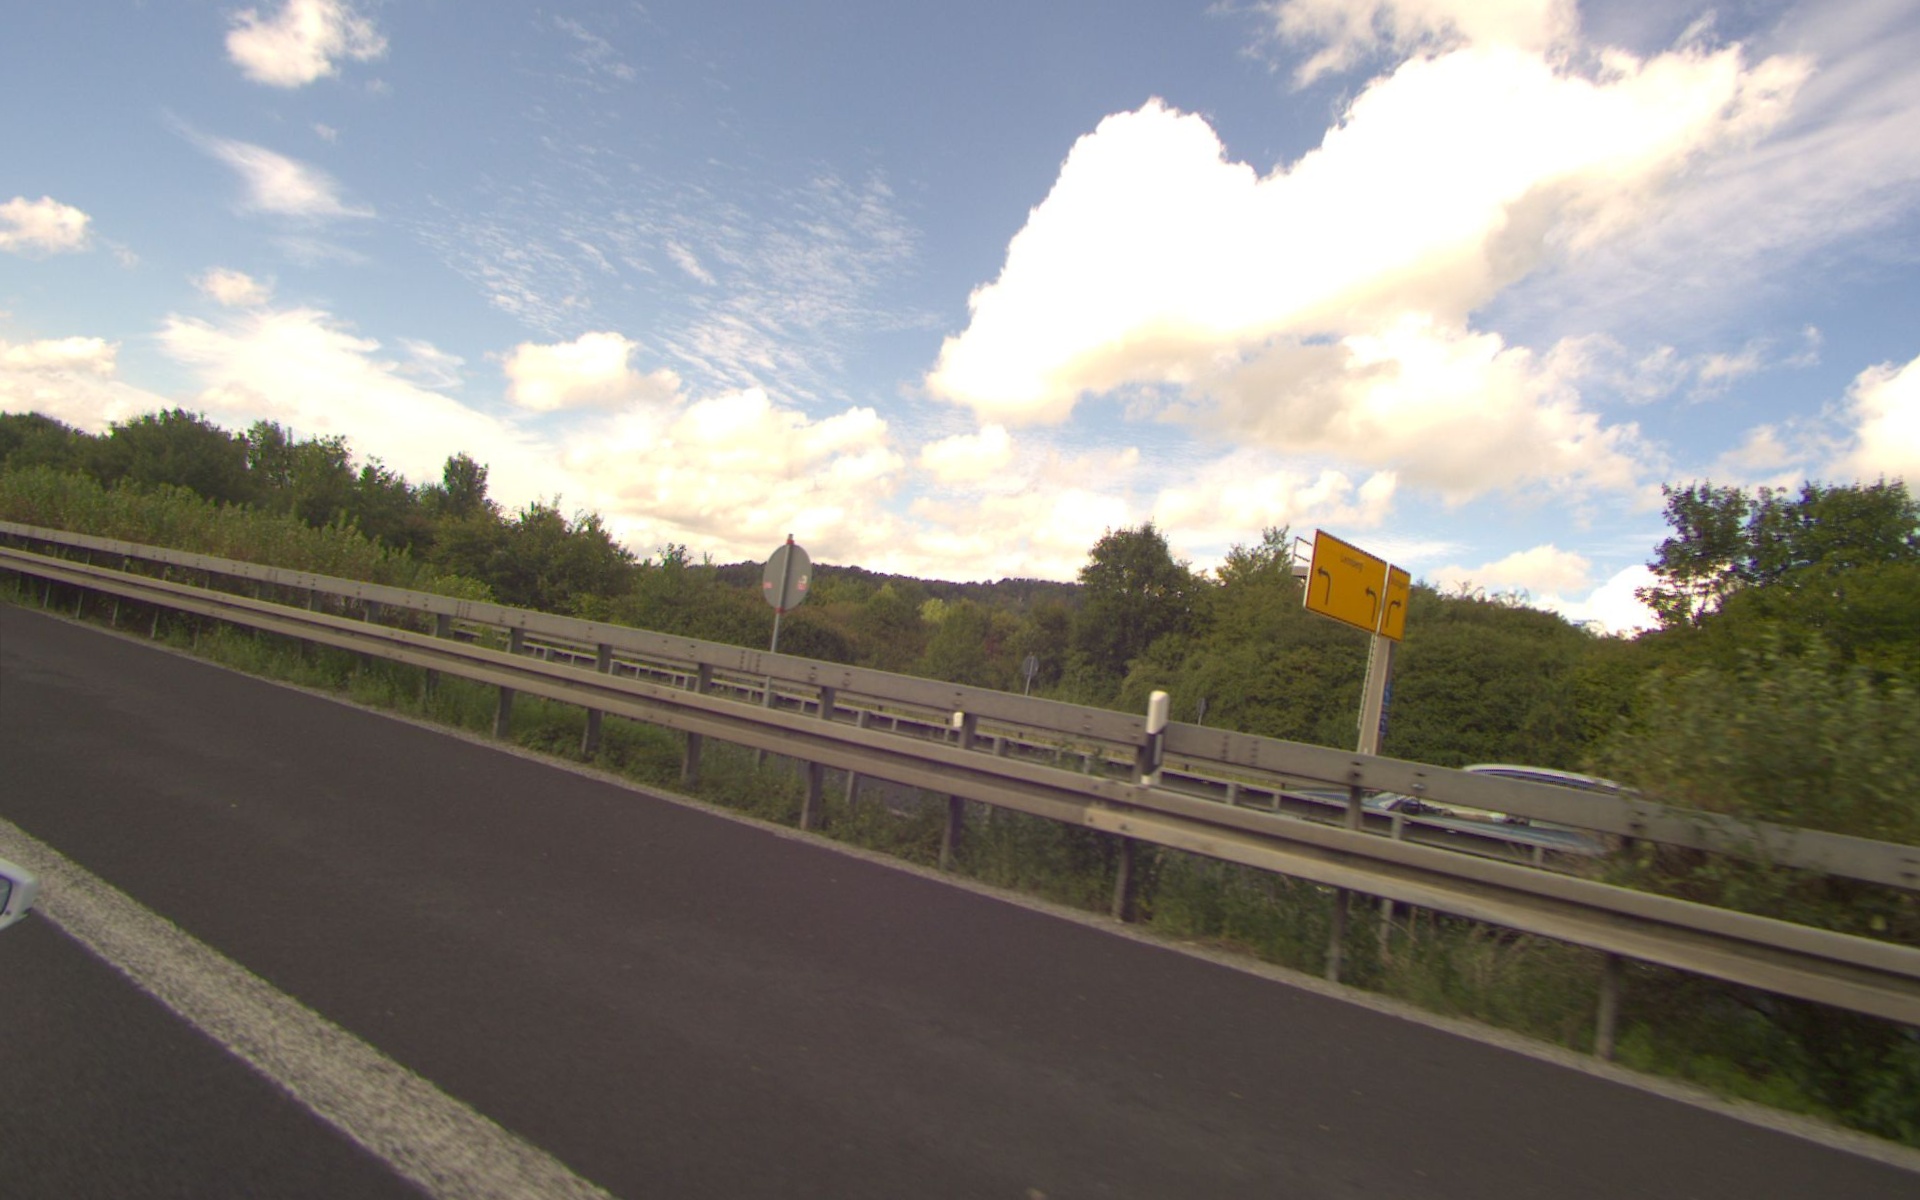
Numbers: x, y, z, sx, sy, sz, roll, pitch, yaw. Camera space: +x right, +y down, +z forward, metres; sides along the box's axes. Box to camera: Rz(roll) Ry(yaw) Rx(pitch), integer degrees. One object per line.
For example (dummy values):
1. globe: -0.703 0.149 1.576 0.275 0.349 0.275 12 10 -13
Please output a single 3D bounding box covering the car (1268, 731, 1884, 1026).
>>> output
1. car: 5.642 2.431 9.831 4.599 1.536 1.787 7 -2 32
